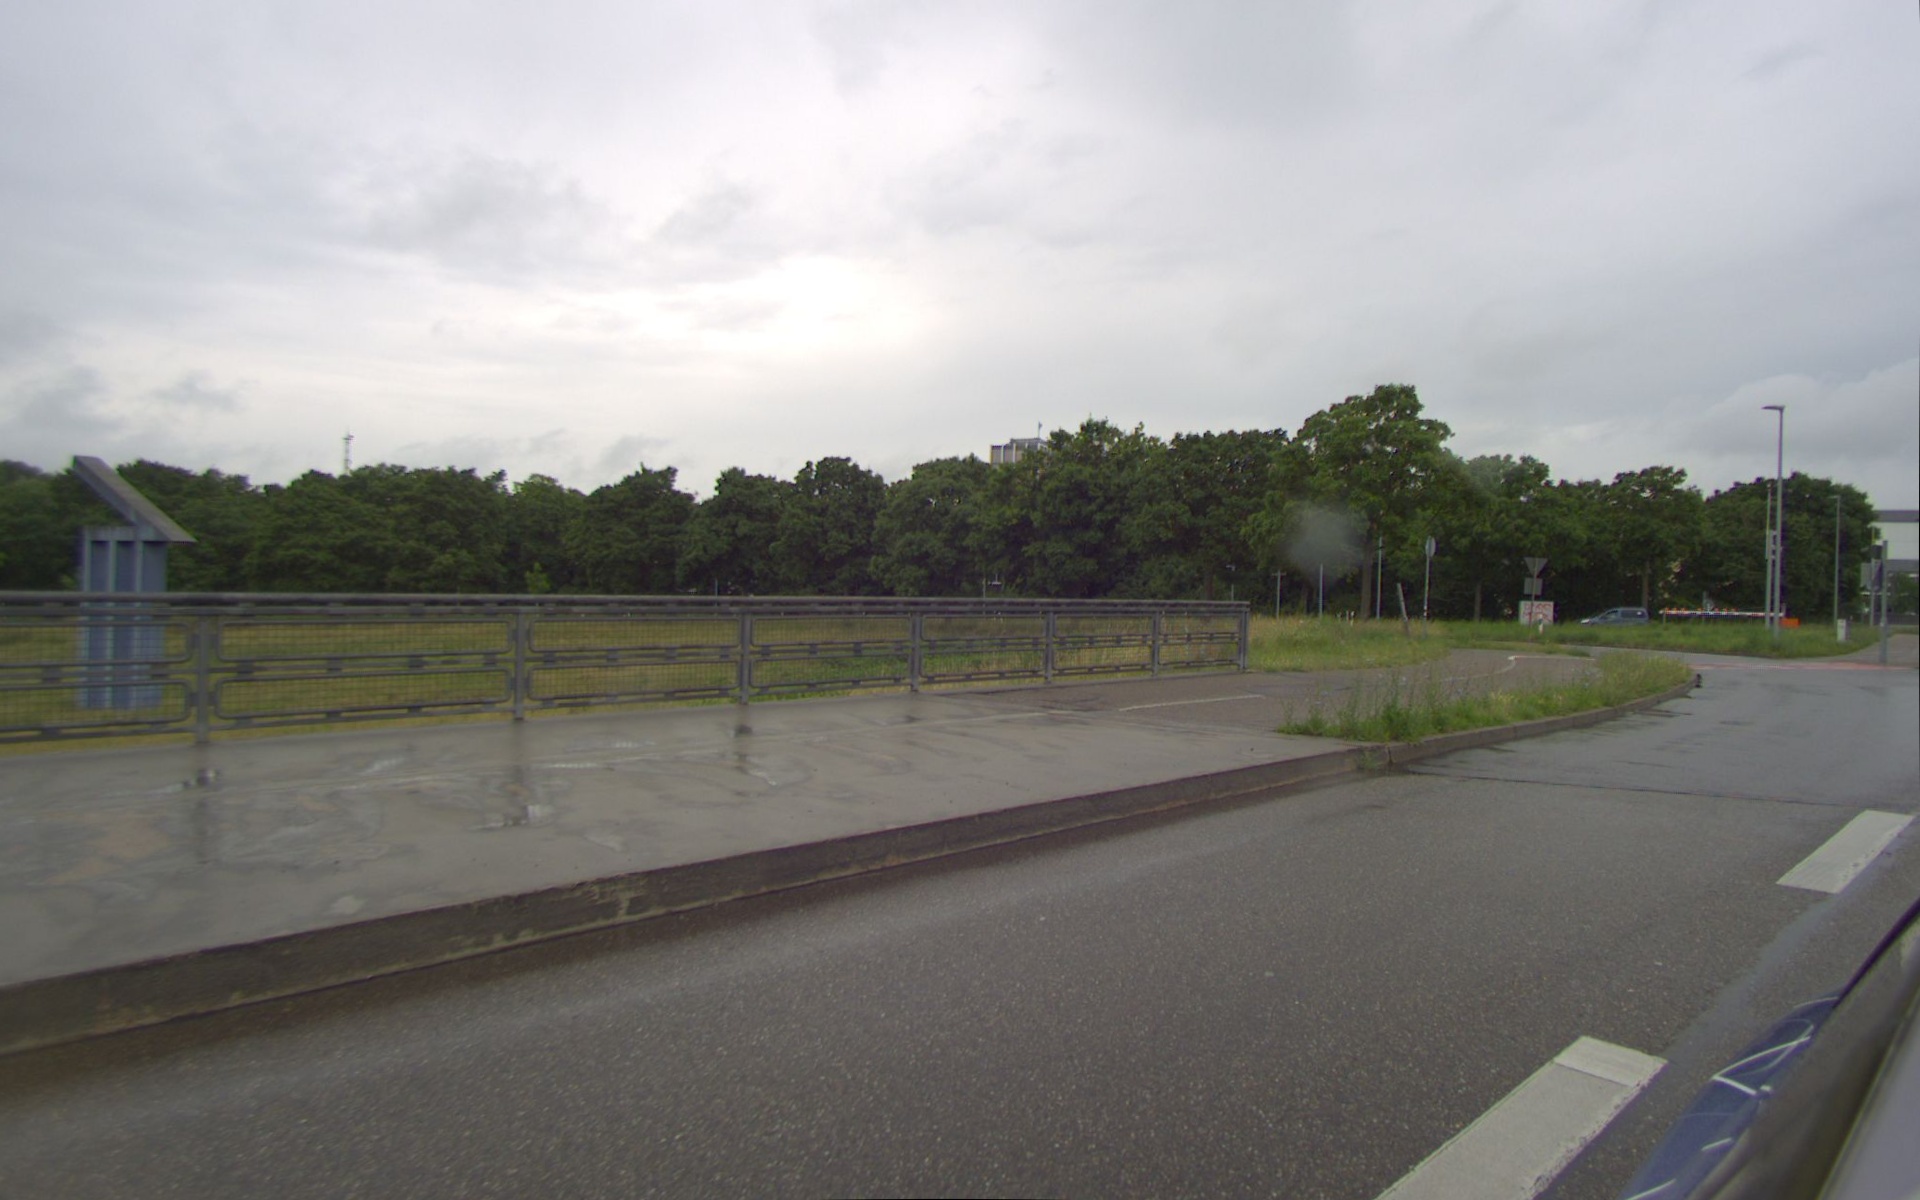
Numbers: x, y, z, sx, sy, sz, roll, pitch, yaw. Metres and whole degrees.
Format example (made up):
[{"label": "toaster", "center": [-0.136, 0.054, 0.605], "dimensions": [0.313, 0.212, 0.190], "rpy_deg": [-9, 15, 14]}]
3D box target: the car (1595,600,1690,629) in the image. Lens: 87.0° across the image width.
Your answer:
[{"label": "car", "center": [44.545, 0.938, 66.158], "dimensions": [4.753, 1.773, 1.841], "rpy_deg": [-1, -1, 18]}]
